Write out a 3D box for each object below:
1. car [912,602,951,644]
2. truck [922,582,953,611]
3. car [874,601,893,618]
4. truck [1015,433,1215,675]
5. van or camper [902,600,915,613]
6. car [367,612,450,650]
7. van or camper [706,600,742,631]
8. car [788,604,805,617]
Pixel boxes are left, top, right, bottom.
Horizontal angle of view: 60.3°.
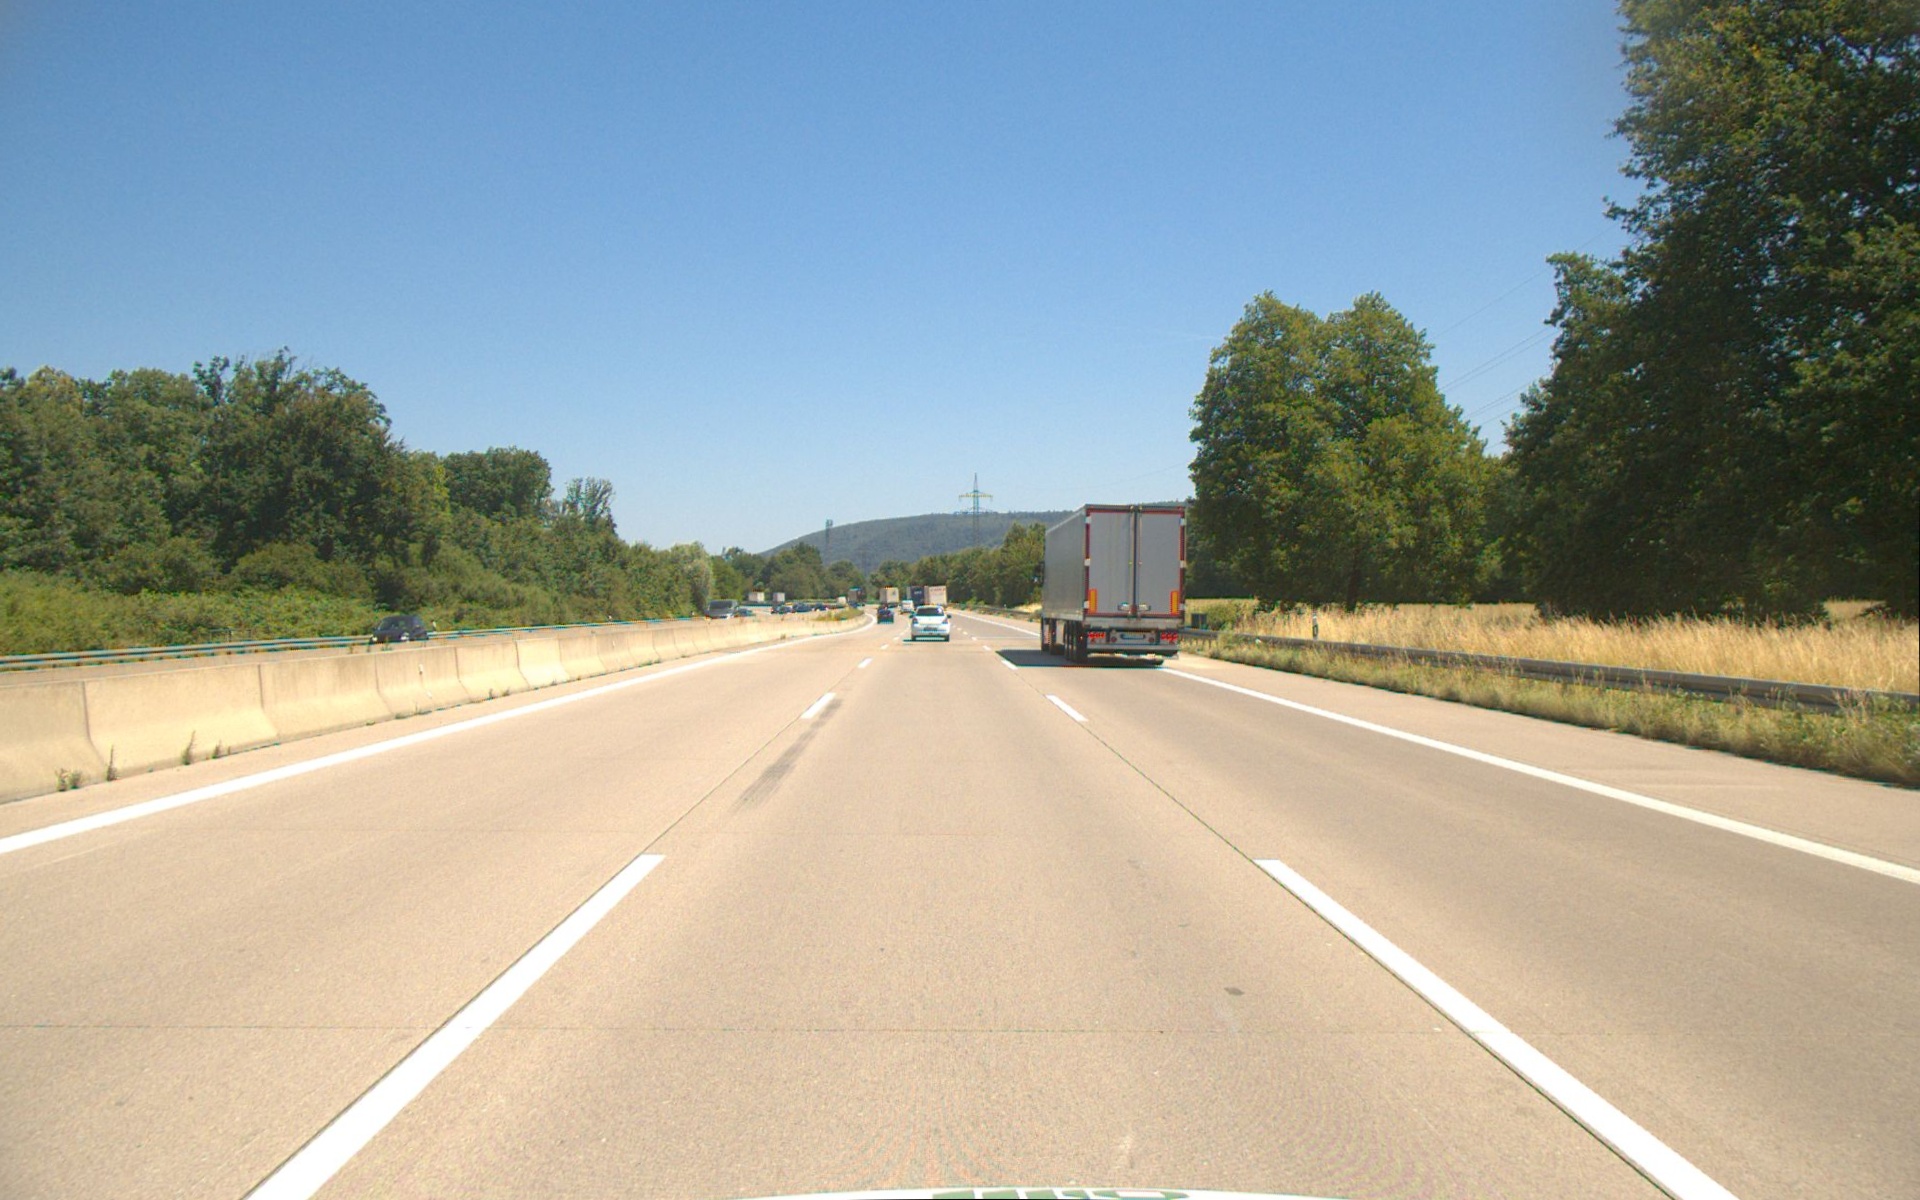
[{"bbox_3d":[-1.245,0.979,71.750,1.608,1.691,3.359,1,0,-1],"label":"car"},{"bbox_3d":[-3.453,-0.566,248.652,3.745,3.957,14.142,-4,0,-4],"label":"truck"},{"bbox_3d":[-8.259,1.047,177.947,1.982,1.730,3.997,2,0,-4],"label":"car"},{"bbox_3d":[4.092,-1.179,49.496,3.505,5.888,18.238,0,0,-2],"label":"truck"},{"bbox_3d":[-7.943,1.013,252.414,1.830,1.869,3.998,-4,0,-2],"label":"van or camper"},{"bbox_3d":[-21.367,1.178,64.210,1.888,1.400,3.999,-1,0,0],"label":"car"},{"bbox_3d":[-14.822,0.973,104.051,1.810,1.915,4.415,-1,0,-2],"label":"van or camper"},{"bbox_3d":[-18.212,1.197,184.515,1.528,1.443,3.522,-1,0,-1],"label":"car"}]
